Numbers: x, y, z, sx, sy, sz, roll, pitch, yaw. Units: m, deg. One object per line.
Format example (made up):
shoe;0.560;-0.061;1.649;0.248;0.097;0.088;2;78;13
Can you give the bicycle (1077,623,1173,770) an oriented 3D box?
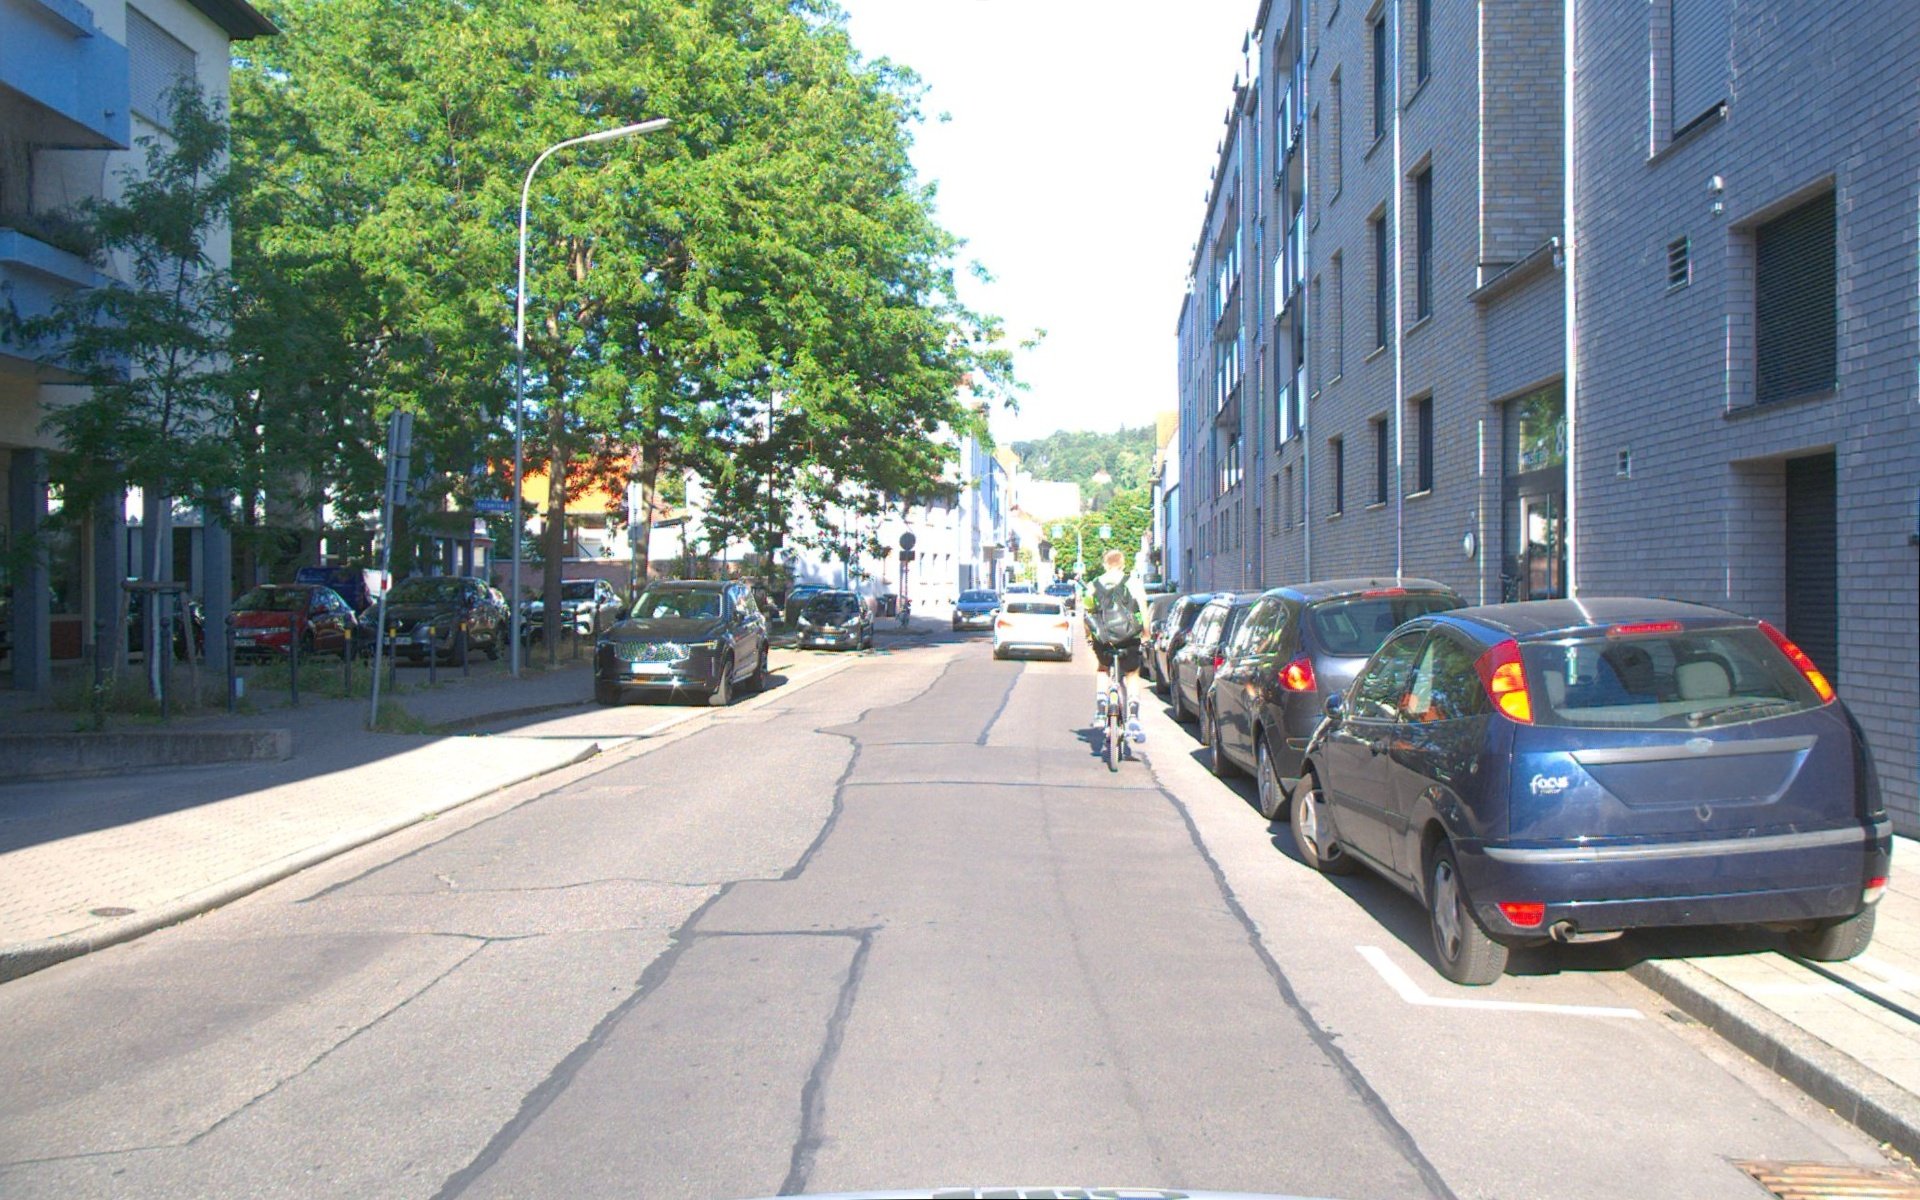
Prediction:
bicycle;1.424;0.801;14.609;0.684;1.150;2.403;1;0;2

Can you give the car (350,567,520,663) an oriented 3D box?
car;-9.784;0.227;31.223;1.820;1.614;4.620;2;1;-2

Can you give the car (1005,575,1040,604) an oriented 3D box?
car;3.779;-0.655;99.641;1.904;1.614;4.624;-3;0;4

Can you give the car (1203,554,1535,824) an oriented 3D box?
car;2.928;0.549;12.636;1.630;1.732;3.915;0;1;1

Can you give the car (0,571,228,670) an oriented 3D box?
car;-15.327;0.311;30.263;1.820;1.614;4.621;2;1;-1

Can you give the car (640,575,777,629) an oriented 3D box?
car;-7.720;0.036;50.829;3.818;1.603;1.711;1;1;9

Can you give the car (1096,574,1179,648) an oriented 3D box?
car;4.530;0.257;42.835;1.819;1.732;4.623;-3;0;3

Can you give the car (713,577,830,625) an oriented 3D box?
car;-6.570;0.028;57.897;3.819;1.603;1.711;0;1;3

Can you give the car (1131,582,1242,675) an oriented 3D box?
car;3.955;0.468;29.301;1.477;1.469;3.530;-3;0;1

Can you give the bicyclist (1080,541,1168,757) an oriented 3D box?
bicyclist;1.426;0.417;14.527;0.684;1.821;1.041;1;0;2

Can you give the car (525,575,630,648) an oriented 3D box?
car;-9.769;0.253;42.521;1.753;1.719;3.965;2;1;-1

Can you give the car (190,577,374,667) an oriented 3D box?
car;-12.367;0.354;30.469;1.683;1.474;4.143;2;1;-1

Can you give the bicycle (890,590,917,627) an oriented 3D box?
bicycle;-2.002;0.281;58.835;0.818;1.239;2.842;0;1;1

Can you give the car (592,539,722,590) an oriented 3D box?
car;-9.811;-1.153;53.651;3.818;1.603;1.711;0;1;6

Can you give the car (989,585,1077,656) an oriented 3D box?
car;1.604;0.435;37.516;1.804;1.517;4.144;1;0;0

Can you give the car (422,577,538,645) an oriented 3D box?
car;-12.231;0.245;42.359;1.819;1.614;3.672;2;1;0

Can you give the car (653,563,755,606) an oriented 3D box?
car;-9.926;-0.611;64.409;3.826;1.603;1.707;0;1;-6

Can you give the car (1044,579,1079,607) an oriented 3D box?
car;6.358;-0.446;103.517;1.904;1.614;4.625;-3;0;6

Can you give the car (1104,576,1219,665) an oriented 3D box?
car;4.041;0.385;33.842;1.819;1.614;4.622;-3;0;1

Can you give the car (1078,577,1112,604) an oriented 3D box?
car;9.162;-0.674;112.537;1.815;1.822;4.606;0;1;-1

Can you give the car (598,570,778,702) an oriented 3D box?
car;-4.037;0.467;25.320;1.814;1.822;4.609;0;1;2

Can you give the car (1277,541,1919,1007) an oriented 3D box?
car;2.752;0.625;8.049;1.596;1.614;4.069;-3;0;0

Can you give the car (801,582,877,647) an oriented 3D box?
car;-3.161;0.345;43.785;1.669;1.603;3.914;0;1;0

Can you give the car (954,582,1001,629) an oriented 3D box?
car;0.629;0.174;59.075;1.630;1.603;3.914;0;1;0

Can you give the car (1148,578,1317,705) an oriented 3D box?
car;3.742;0.511;23.447;1.819;1.615;4.623;0;0;2
